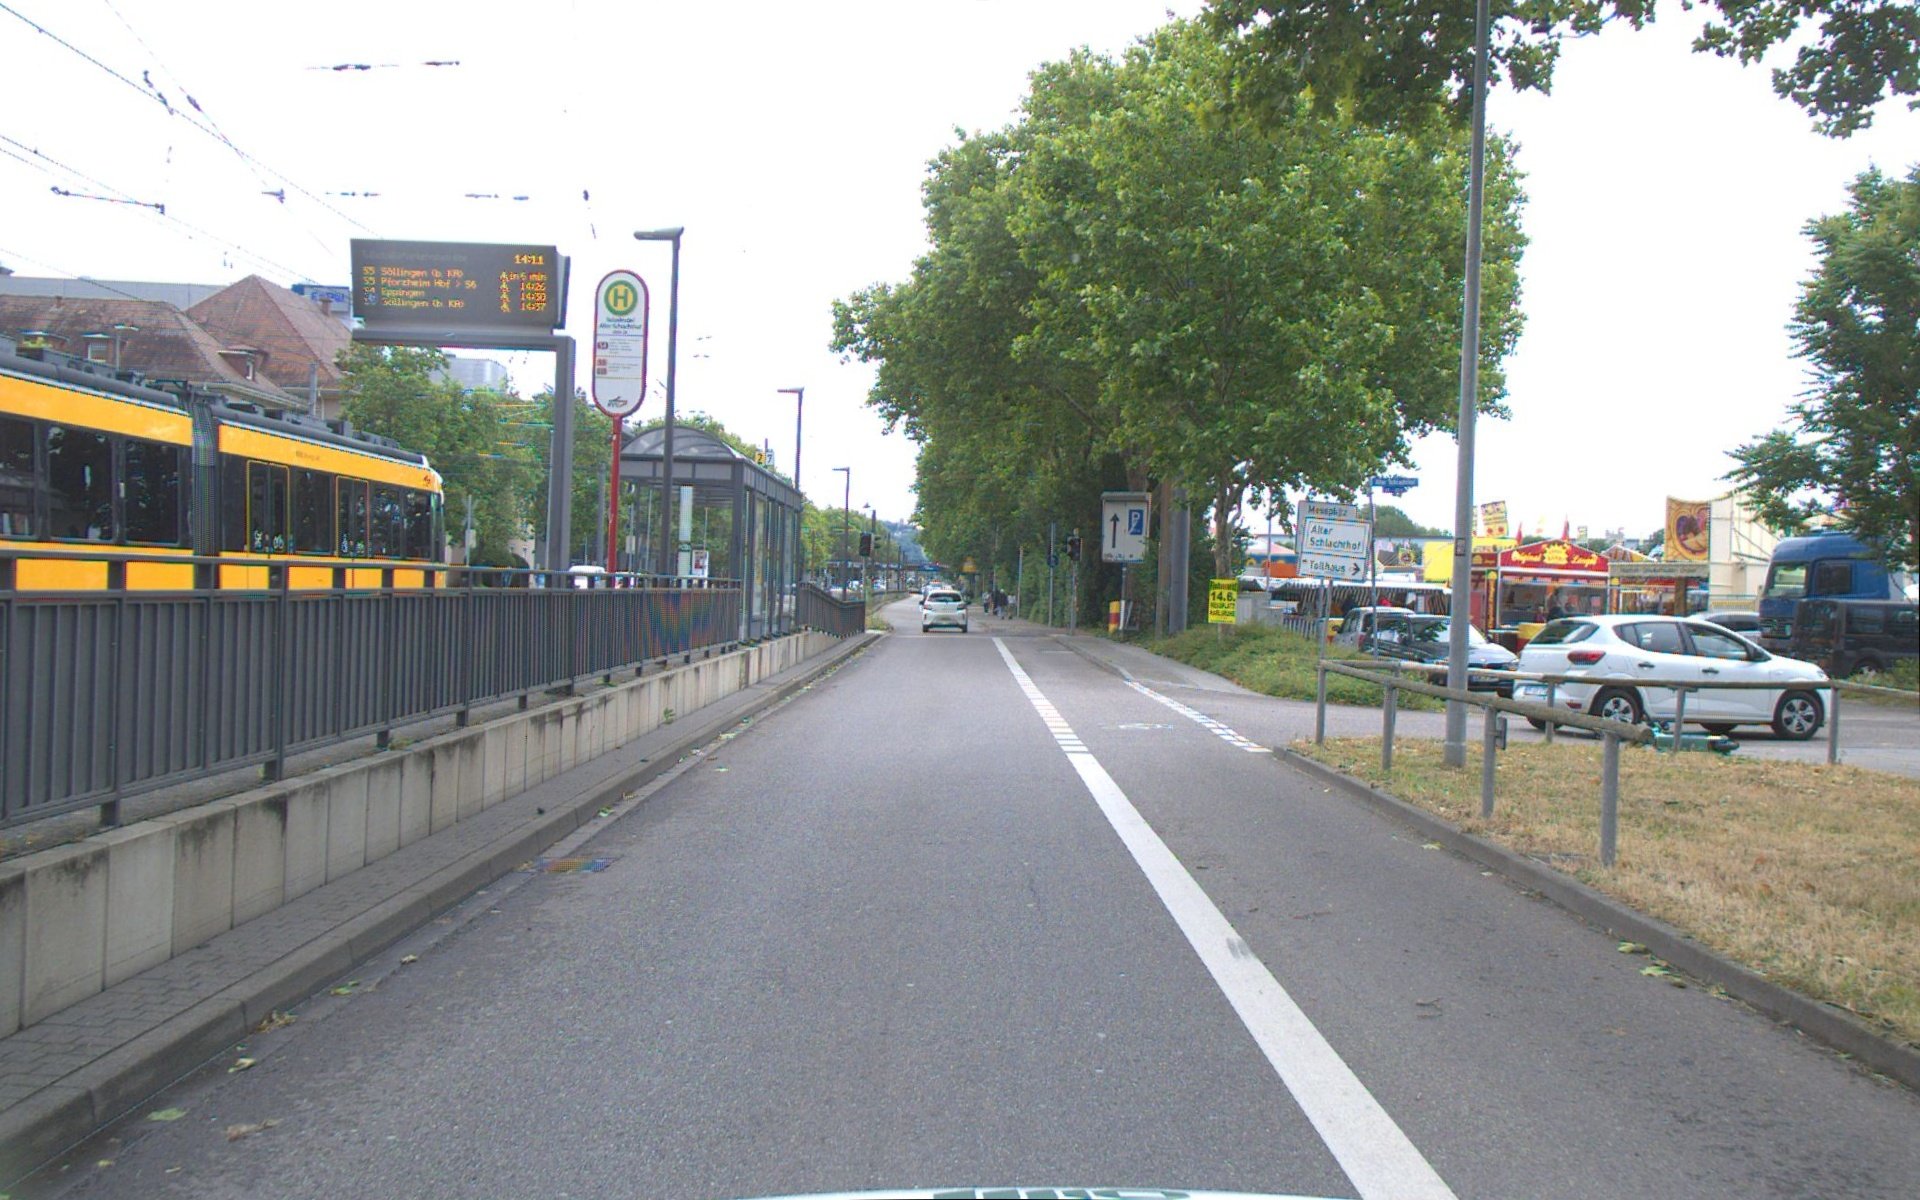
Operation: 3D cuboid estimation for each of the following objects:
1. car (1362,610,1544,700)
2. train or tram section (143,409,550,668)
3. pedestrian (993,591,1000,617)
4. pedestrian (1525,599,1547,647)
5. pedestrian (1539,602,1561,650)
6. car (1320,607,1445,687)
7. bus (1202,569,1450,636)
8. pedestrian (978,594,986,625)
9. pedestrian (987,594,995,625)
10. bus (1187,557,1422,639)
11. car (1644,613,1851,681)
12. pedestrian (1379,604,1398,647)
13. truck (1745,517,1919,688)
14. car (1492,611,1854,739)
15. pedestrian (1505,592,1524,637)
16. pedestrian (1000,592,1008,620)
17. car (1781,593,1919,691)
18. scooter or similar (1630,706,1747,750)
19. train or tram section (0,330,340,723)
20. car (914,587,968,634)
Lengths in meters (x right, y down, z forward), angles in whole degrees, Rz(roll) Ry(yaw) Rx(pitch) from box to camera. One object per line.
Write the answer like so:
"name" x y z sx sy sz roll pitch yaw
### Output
"car" 8.886 0.948 30.170 1.826 1.455 3.996 2 0 -5
"train or tram section" -12.103 -1.009 35.072 3.115 4.252 14.732 2 0 0
"pedestrian" 2.120 0.226 96.324 0.388 1.470 0.563 2 0 0
"pedestrian" 20.688 0.829 59.396 0.514 1.716 0.492 2 -1 -17
"pedestrian" 21.392 0.927 59.964 0.514 1.716 0.492 2 -1 -17
"car" 9.297 0.994 36.683 1.824 1.622 4.001 2 0 1
"bus" 14.044 0.116 63.742 9.093 2.266 1.999 2 0 -3
"pedestrian" 1.451 0.628 108.357 0.387 2.049 0.403 1 -1 15
"pedestrian" 2.040 0.618 108.055 0.387 2.049 0.403 1 -1 15
"bus" 13.918 -0.077 67.065 9.093 3.011 1.999 2 0 -3
"car" 20.642 1.226 43.448 4.481 1.603 1.999 2 0 -2
"pedestrian" 14.882 0.881 57.424 0.483 1.488 0.523 2 -1 -3
"truck" 23.473 0.143 39.727 8.026 3.889 2.599 2 0 -2
"car" 9.127 0.943 21.311 3.917 1.478 1.886 2 0 -12
"pedestrian" 21.065 0.548 62.876 0.483 1.716 0.523 2 -1 -3
"pedestrian" 2.552 0.371 96.355 0.388 1.613 0.538 2 -1 -1
"car" 20.904 0.911 36.615 4.481 2.049 1.999 1 1 -2
"scooter or similar" 8.127 1.419 18.487 1.153 0.355 1.330 0 0 24
"train or tram section" -11.967 -0.822 20.359 3.115 4.252 14.732 2 0 0
"car" -0.646 0.355 59.348 1.803 1.579 4.000 1 0 1
